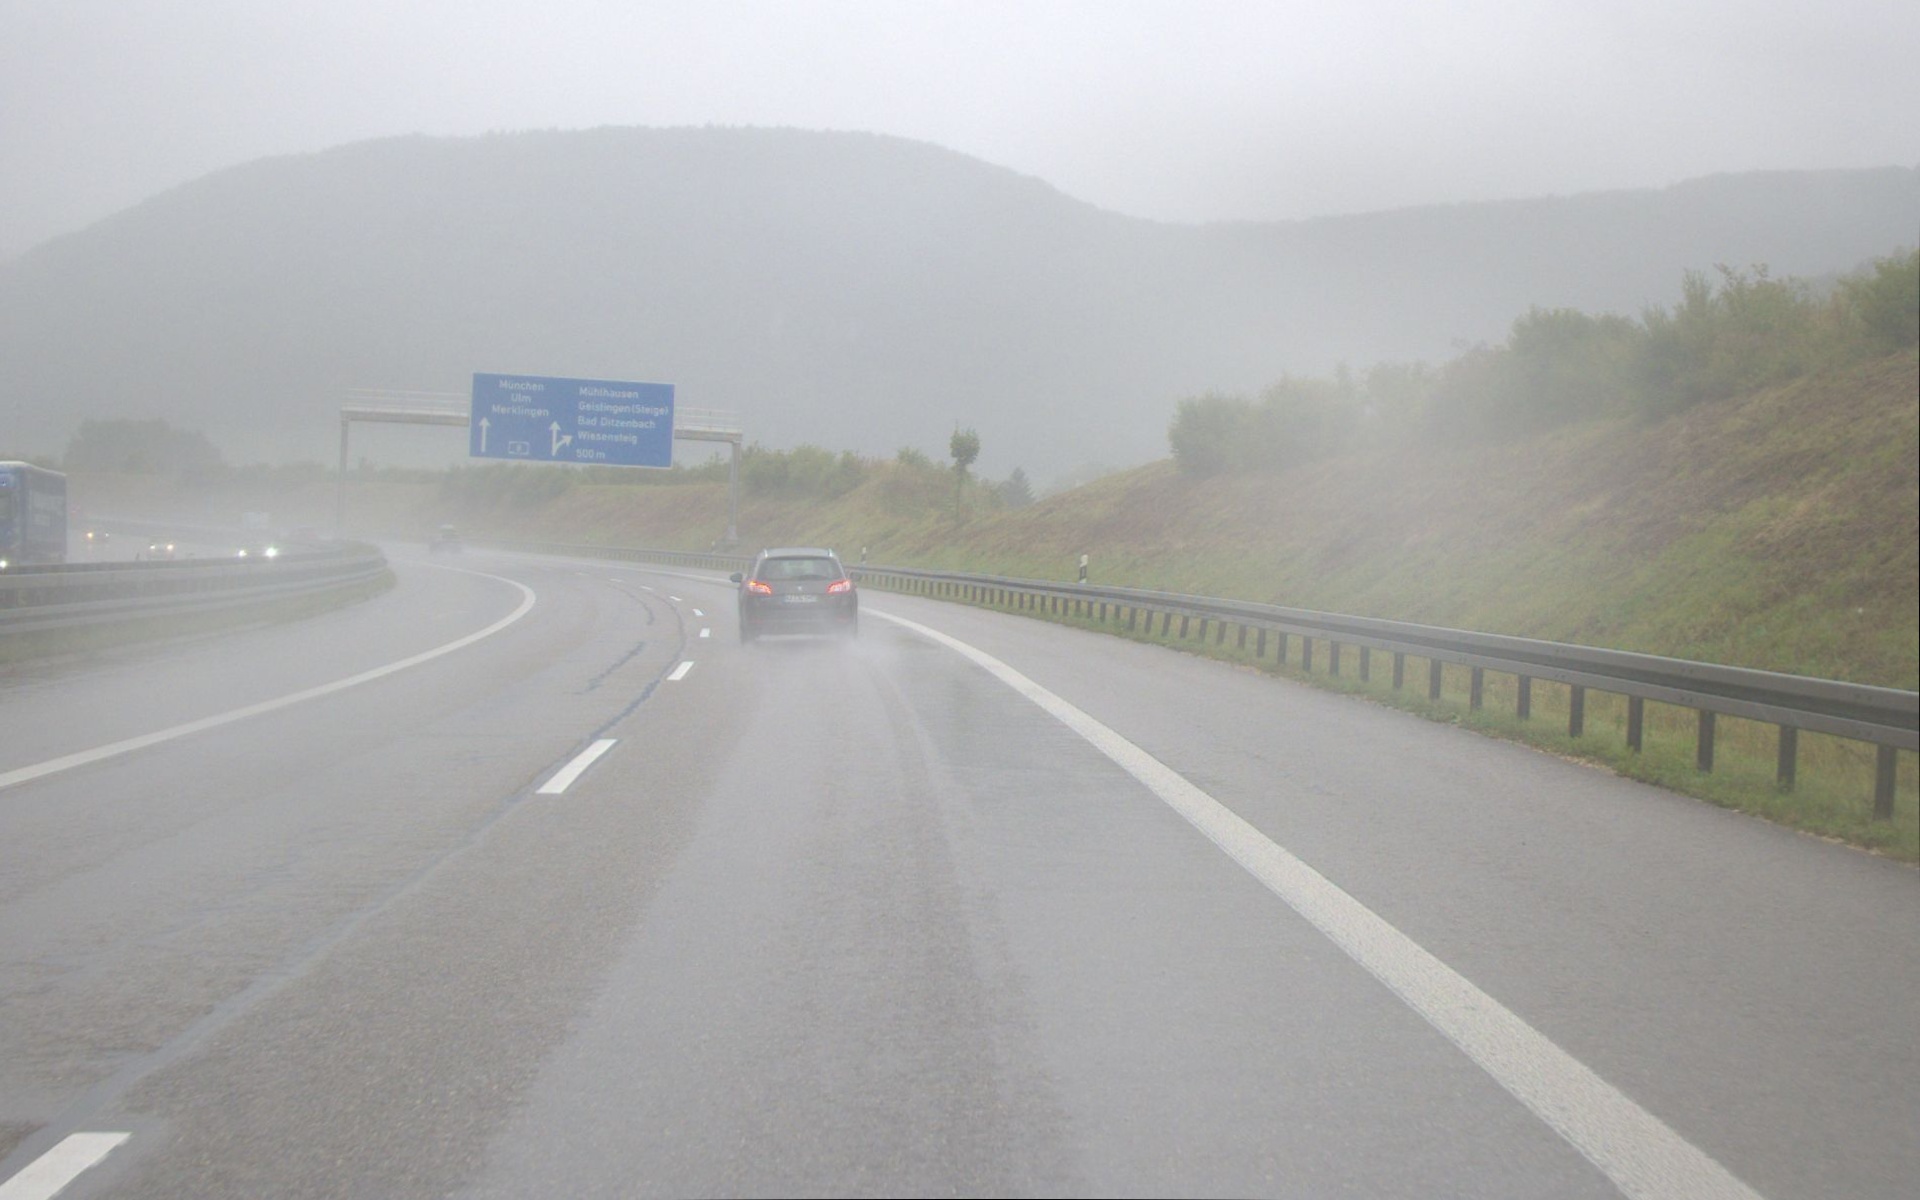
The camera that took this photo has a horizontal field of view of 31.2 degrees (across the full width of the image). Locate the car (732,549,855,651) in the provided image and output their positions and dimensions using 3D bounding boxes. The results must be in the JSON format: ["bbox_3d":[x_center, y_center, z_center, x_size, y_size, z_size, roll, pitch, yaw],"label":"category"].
[{"bbox_3d":[-2.525,-0.027,52.796,1.679,1.467,3.815,1,1,0],"label":"car"}]

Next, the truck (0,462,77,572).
[{"bbox_3d":[-32.118,-2.807,117.521,2.780,3.670,6.208,0,1,-6],"label":"truck"}]
